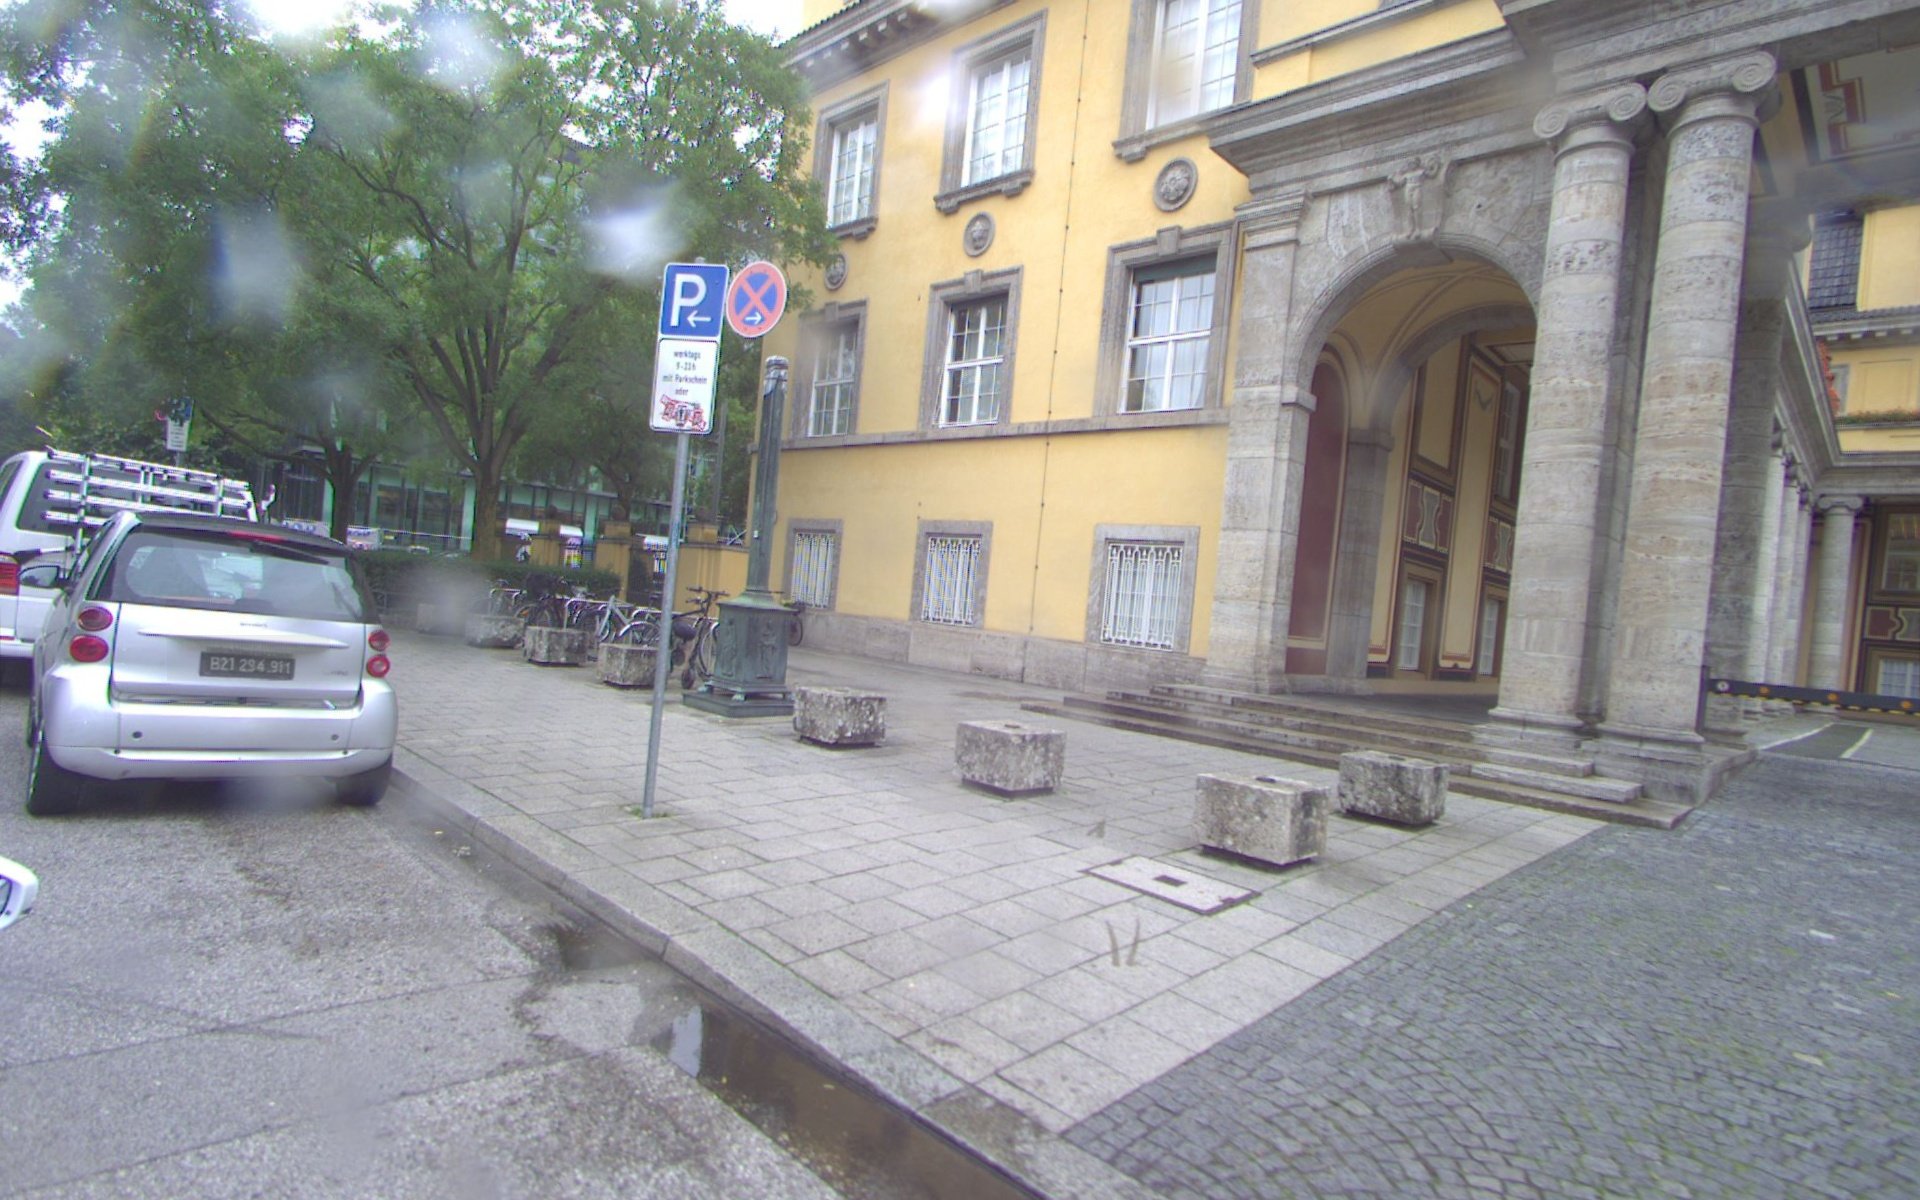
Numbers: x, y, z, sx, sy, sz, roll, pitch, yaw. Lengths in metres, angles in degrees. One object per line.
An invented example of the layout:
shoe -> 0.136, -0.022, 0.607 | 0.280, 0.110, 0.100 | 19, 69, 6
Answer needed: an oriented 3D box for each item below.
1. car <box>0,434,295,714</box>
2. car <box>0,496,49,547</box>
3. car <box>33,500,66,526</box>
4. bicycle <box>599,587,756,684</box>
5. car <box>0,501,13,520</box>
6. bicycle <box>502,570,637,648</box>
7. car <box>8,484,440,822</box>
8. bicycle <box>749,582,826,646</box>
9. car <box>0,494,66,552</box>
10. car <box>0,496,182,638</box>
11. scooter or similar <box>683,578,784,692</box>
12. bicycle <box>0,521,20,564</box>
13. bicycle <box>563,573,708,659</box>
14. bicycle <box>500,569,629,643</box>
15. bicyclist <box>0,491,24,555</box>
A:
car -> -8.270, -0.300, 9.676 | 5.203, 1.955, 1.842 | 6, -2, 44
car -> -38.112, -3.222, 40.631 | 1.856, 1.817, 4.455 | 5, 1, -42
car -> -83.172, -7.946, 91.877 | 1.988, 2.086, 4.565 | 6, 0, -45
bicycle -> -3.560, 0.465, 12.834 | 0.465, 1.128, 1.927 | 6, 2, 41
car -> -119.140, -11.232, 124.911 | 1.988, 2.123, 3.951 | 9, -2, -43
bicycle -> -6.225, 0.168, 16.114 | 1.924, 1.128, 0.465 | 4, 2, -44
car -> -4.645, 0.229, 6.221 | 2.896, 1.564, 1.602 | 6, -1, 45
bicycle -> -3.720, 0.288, 21.587 | 1.876, 1.169, 0.540 | 7, 2, 44
car -> -34.638, -2.881, 37.388 | 4.086, 1.846, 1.756 | 6, 0, 45
car -> -12.435, -0.550, 13.862 | 4.905, 1.507, 1.769 | 6, -2, 42
scooter or similar -> -2.670, 0.402, 11.907 | 0.993, 1.238, 0.537 | 5, 2, -1
bicycle -> -23.848, -1.444, 25.016 | 0.619, 1.017, 2.115 | 4, 0, -42
bicycle -> -4.622, 0.248, 14.435 | 1.924, 1.128, 0.465 | 4, 2, -44
bicycle -> -6.590, 0.124, 16.855 | 1.924, 1.128, 0.465 | 4, 2, -44
bicyclist -> -23.754, -1.903, 24.970 | 0.669, 1.516, 1.082 | 4, 0, -42
